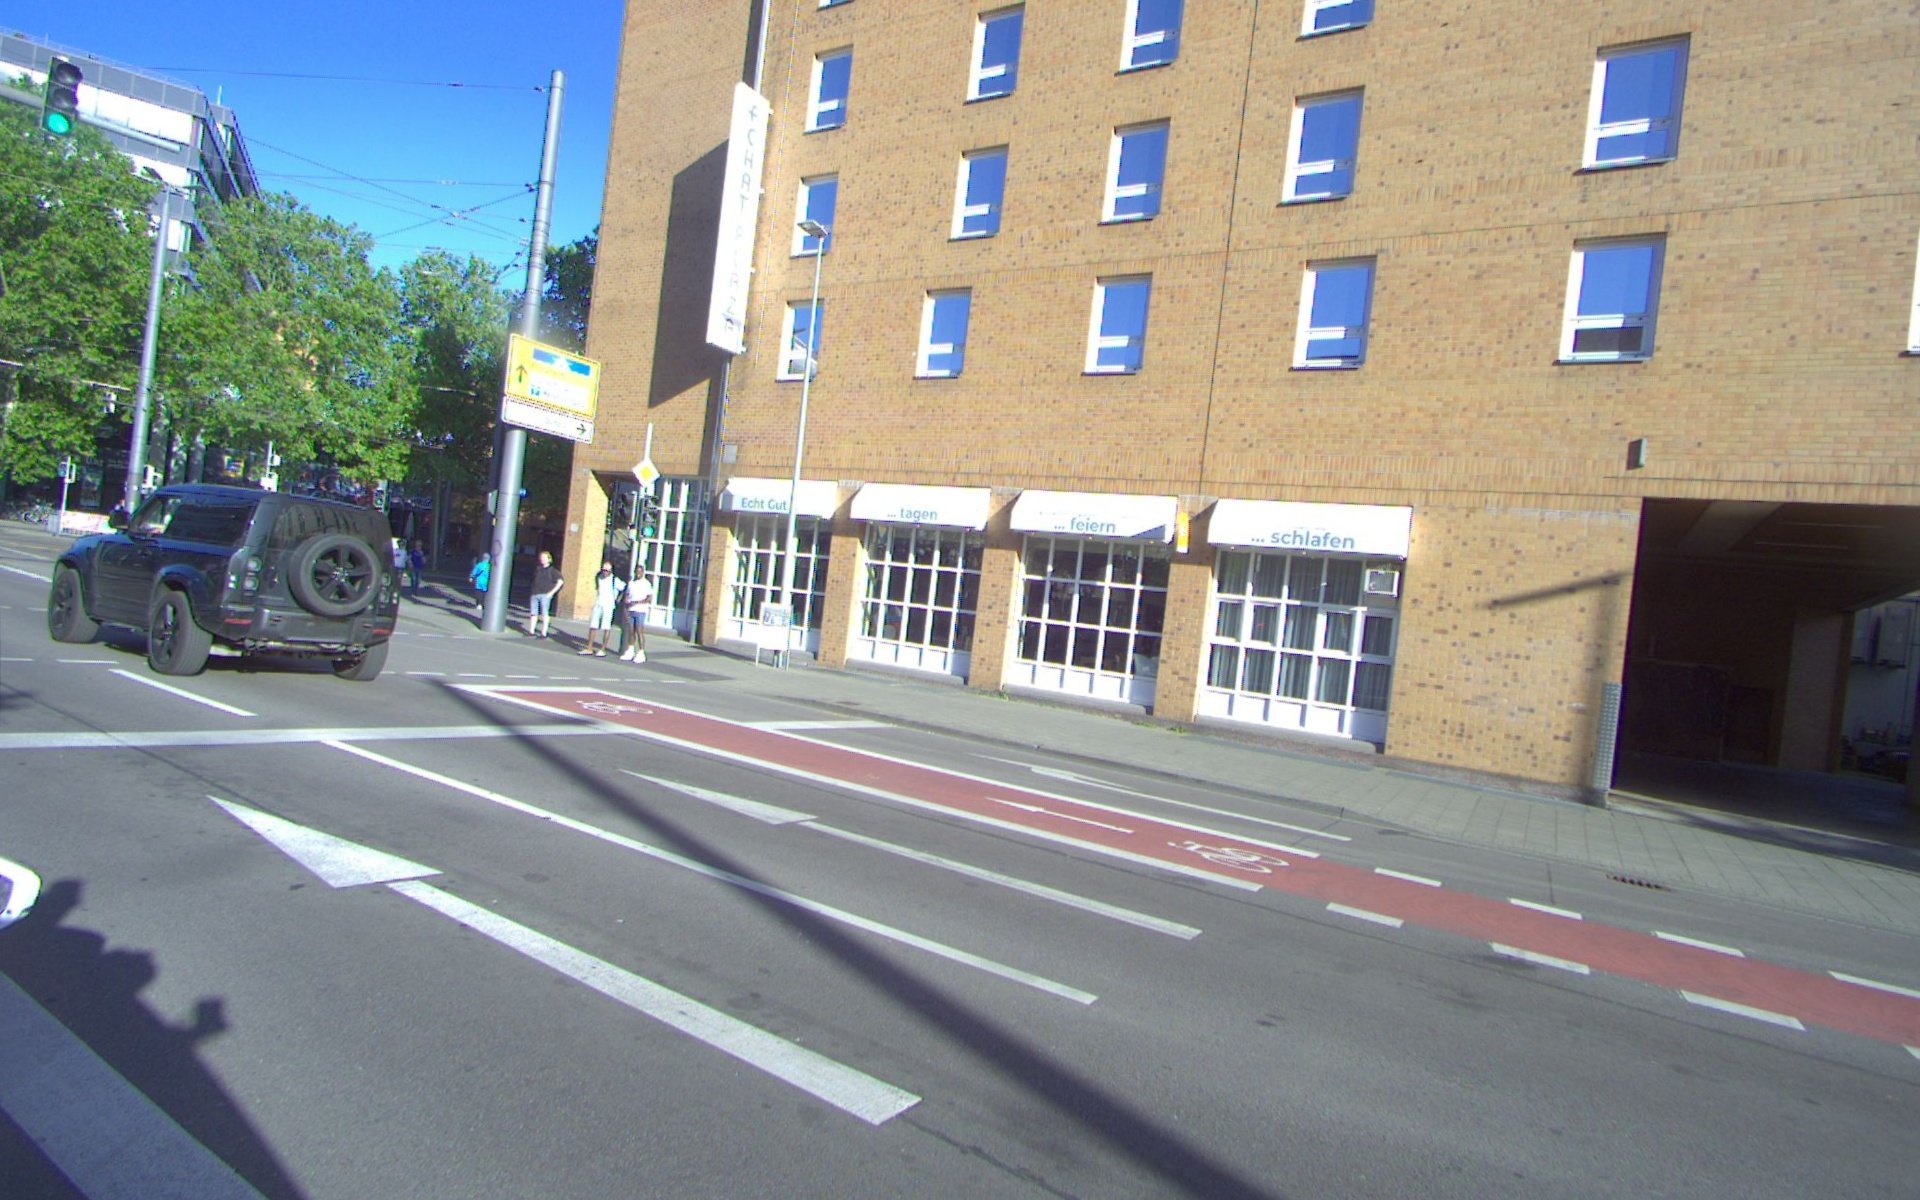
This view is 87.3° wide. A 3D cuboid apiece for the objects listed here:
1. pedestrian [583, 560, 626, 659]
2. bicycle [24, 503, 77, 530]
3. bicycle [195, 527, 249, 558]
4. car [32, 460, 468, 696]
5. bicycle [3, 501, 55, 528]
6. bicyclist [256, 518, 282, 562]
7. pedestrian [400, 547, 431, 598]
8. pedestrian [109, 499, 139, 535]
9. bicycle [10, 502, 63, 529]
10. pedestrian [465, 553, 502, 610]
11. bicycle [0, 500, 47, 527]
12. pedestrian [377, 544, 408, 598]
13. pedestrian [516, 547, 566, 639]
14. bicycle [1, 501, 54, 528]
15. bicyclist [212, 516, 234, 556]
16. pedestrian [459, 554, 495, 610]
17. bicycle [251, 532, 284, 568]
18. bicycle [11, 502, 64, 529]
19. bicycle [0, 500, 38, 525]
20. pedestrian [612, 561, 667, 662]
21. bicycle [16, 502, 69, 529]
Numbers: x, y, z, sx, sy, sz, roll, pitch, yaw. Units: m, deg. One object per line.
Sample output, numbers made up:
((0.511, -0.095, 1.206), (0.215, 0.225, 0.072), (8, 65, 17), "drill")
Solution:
((-6.731, 0.175, 19.020), (0.586, 1.802, 0.678), (6, 1, -22), "pedestrian")
((-45.991, -4.225, 50.876), (0.354, 1.058, 1.884), (6, -2, 31), "bicycle")
((-36.311, -2.823, 49.530), (0.414, 1.228, 2.046), (6, -2, 32), "bicycle")
((-7.875, -0.264, 11.105), (4.398, 1.937, 2.164), (7, -2, 31), "car")
((-48.350, -4.432, 52.255), (0.354, 1.058, 1.884), (6, -2, 31), "bicycle")
((-25.383, -2.208, 36.962), (0.563, 1.536, 0.626), (8, -2, -43), "bicyclist")
((-16.750, -0.848, 30.937), (0.563, 1.496, 0.695), (8, -2, -37), "pedestrian")
((-43.891, -4.355, 52.827), (0.747, 1.724, 0.834), (6, -1, 32), "pedestrian")
((-47.759, -4.365, 52.040), (0.354, 1.058, 1.884), (7, -2, 31), "bicycle")
((-13.195, -0.507, 27.855), (0.591, 1.470, 0.593), (6, 0, 32), "pedestrian")
((-49.192, -4.540, 52.724), (0.354, 1.058, 1.885), (7, -2, 31), "bicycle")
((-17.141, -0.886, 30.395), (0.563, 1.550, 0.695), (8, -2, -38), "pedestrian")
((-8.674, -0.135, 20.853), (0.726, 1.813, 0.510), (7, -1, -19), "pedestrian")
((-48.715, -4.478, 52.572), (0.354, 1.058, 1.885), (7, -2, 31), "bicycle")
((-36.273, -3.133, 49.526), (0.396, 1.859, 0.585), (6, -1, 31), "bicyclist")
((-13.671, -0.497, 28.471), (0.543, 1.495, 0.593), (6, 0, 32), "pedestrian")
((-25.431, -1.852, 36.948), (0.564, 1.192, 2.302), (8, -2, -43), "bicycle")
((-47.355, -4.342, 51.648), (0.354, 1.058, 1.884), (6, -2, 31), "bicycle")
((-50.170, -4.651, 53.284), (0.354, 1.058, 1.885), (7, -2, 31), "bicycle")
((-5.986, 0.223, 18.816), (0.583, 1.802, 0.682), (6, 0, 6), "pedestrian")
((-46.682, -4.287, 51.216), (0.354, 1.058, 1.884), (6, -2, 31), "bicycle")
